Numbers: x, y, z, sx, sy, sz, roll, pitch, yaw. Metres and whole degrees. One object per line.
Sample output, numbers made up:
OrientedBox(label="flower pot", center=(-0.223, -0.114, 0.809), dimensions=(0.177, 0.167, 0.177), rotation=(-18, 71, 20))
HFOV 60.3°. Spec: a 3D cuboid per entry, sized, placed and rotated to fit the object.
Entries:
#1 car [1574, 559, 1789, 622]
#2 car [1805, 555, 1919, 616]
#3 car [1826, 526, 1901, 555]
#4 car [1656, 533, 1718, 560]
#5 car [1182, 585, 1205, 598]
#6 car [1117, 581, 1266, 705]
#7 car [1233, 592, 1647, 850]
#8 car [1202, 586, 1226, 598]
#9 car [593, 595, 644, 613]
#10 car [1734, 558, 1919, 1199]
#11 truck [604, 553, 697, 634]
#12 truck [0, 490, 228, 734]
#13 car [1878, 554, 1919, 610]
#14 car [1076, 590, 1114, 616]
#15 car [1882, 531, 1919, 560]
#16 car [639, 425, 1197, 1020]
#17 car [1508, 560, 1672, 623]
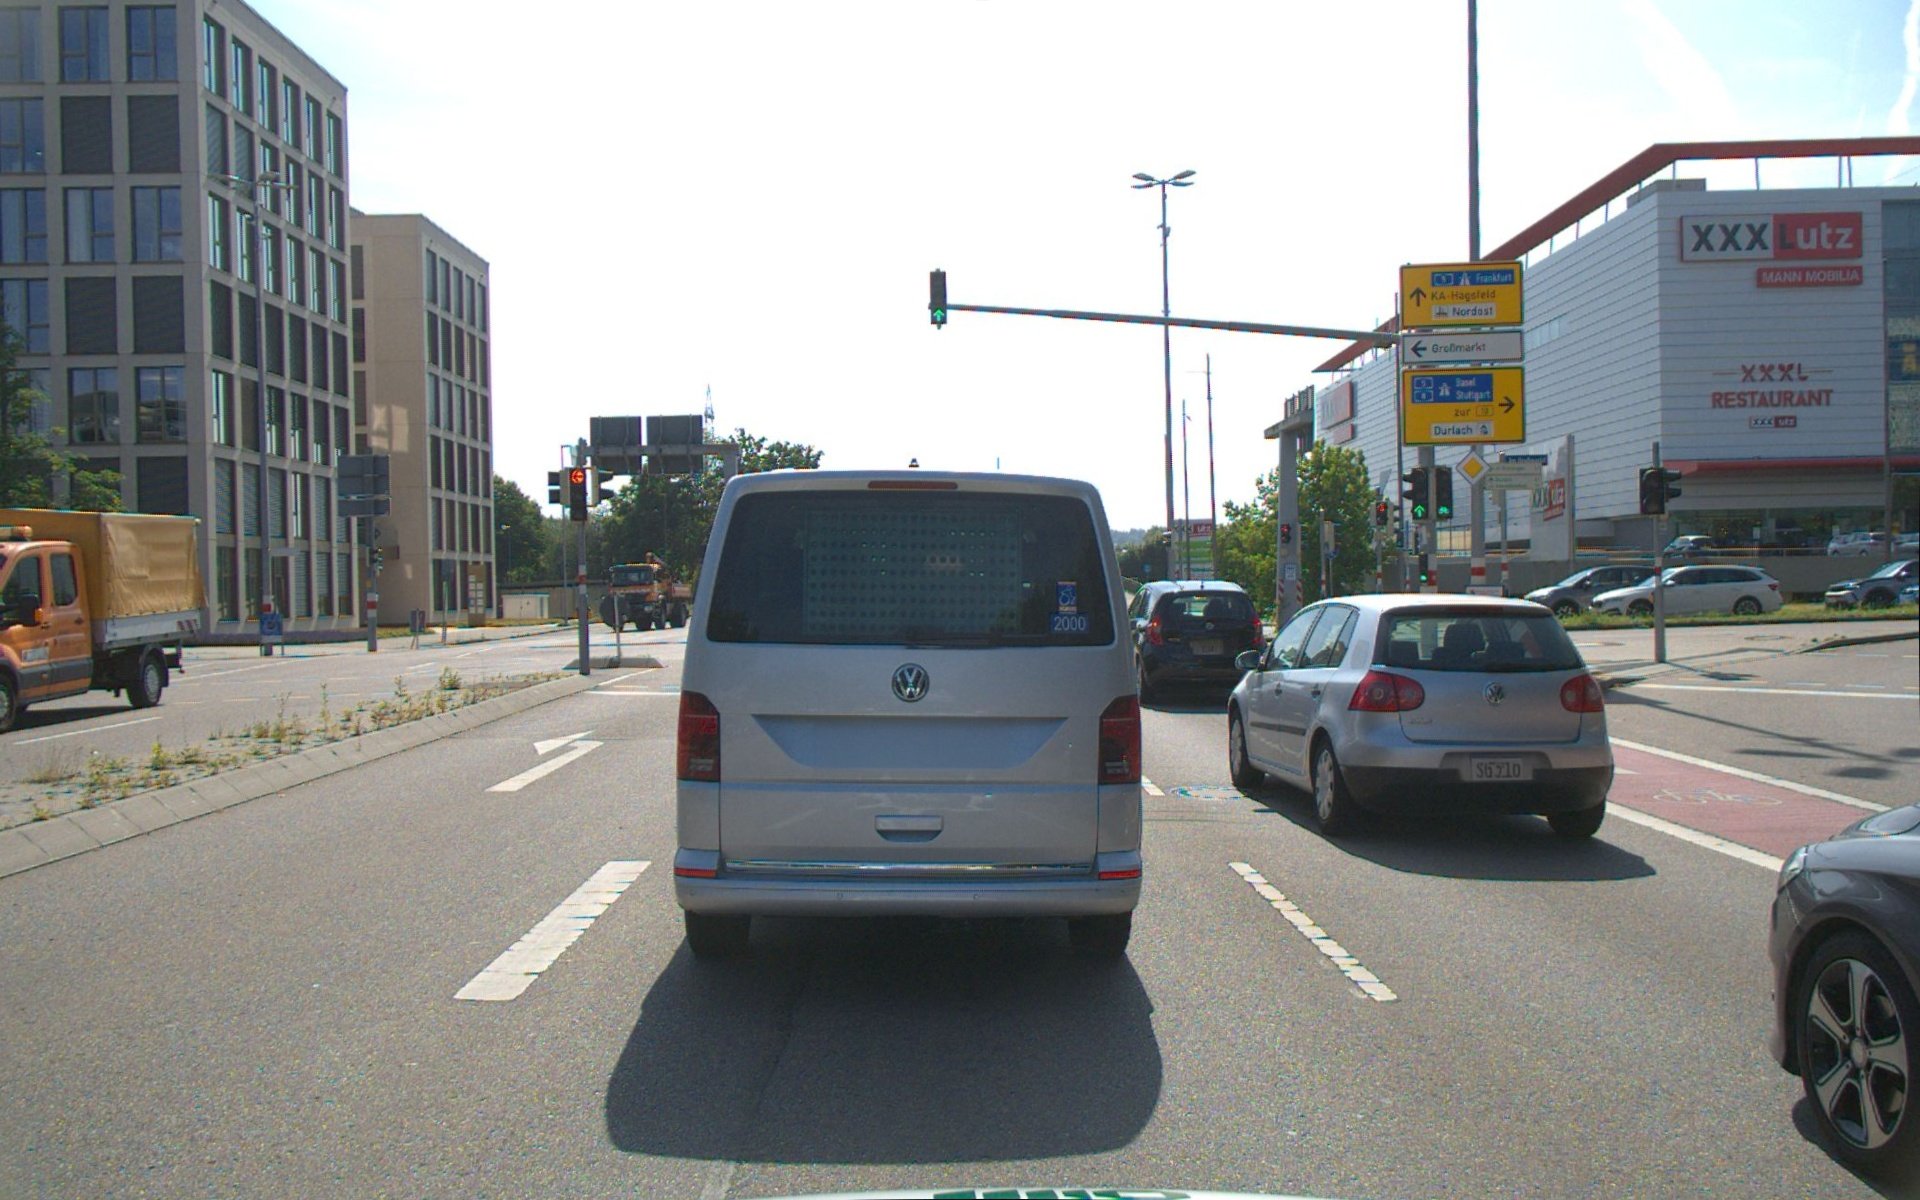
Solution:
OrientedBox(label="car", center=(18.401, -0.231, 42.315), dimensions=(4.618, 1.450, 1.959), rotation=(-2, -1, 2))
OrientedBox(label="car", center=(25.350, -0.406, 44.773), dimensions=(3.945, 1.535, 1.909), rotation=(-2, -1, 2))
OrientedBox(label="car", center=(48.749, -3.210, 89.342), dimensions=(1.762, 1.444, 4.007), rotation=(-1, 0, -1))
OrientedBox(label="car", center=(41.520, -3.039, 94.547), dimensions=(1.734, 1.444, 4.201), rotation=(-1, 1, 2))
OrientedBox(label="car", center=(30.723, -1.120, 217.612), dimensions=(1.849, 1.545, 3.991), rotation=(1, 0, -9))
OrientedBox(label="car", center=(2.987, 0.509, 21.937), dimensions=(1.499, 1.505, 3.596), rotation=(0, 0, 0))
OrientedBox(label="car", center=(3.025, 0.676, 11.196), dimensions=(1.633, 1.439, 3.681), rotation=(0, 0, -2))
OrientedBox(label="car", center=(33.386, -1.044, 217.693), dimensions=(1.957, 1.445, 3.991), rotation=(1, 0, -9))
OrientedBox(label="car", center=(-29.193, 0.318, 141.420), dimensions=(4.039, 1.445, 1.718), rotation=(-1, -1, -20))
OrientedBox(label="car", center=(3.235, 0.696, 2.885), dimensions=(1.738, 1.566, 4.136), rotation=(0, 1, -2))
OrientedBox(label="truck", center=(-15.337, -0.347, 82.590), dimensions=(2.689, 3.744, 7.583), rotation=(-2, 0, 3))
OrientedBox(label="truck", center=(-11.843, 0.172, 21.013), dimensions=(2.328, 2.670, 6.668), rotation=(-3, 1, -4))
OrientedBox(label="car", center=(25.632, -0.480, 41.717), dimensions=(3.960, 1.365, 1.724), rotation=(-1, 0, 1))
OrientedBox(label="car", center=(7.932, 0.179, 97.375), dimensions=(1.502, 1.463, 3.241), rotation=(-1, 0, -8))
OrientedBox(label="car", center=(51.442, -2.920, 88.630), dimensions=(1.794, 1.444, 4.201), rotation=(-1, 1, 2))
OrientedBox(label="car", center=(-0.179, 0.400, 7.756), dimensions=(1.878, 2.010, 4.296), rotation=(0, 0, -1))
OrientedBox(label="car", center=(17.218, -0.231, 45.351), dimensions=(3.803, 1.585, 1.809), rotation=(-1, 0, 3))
